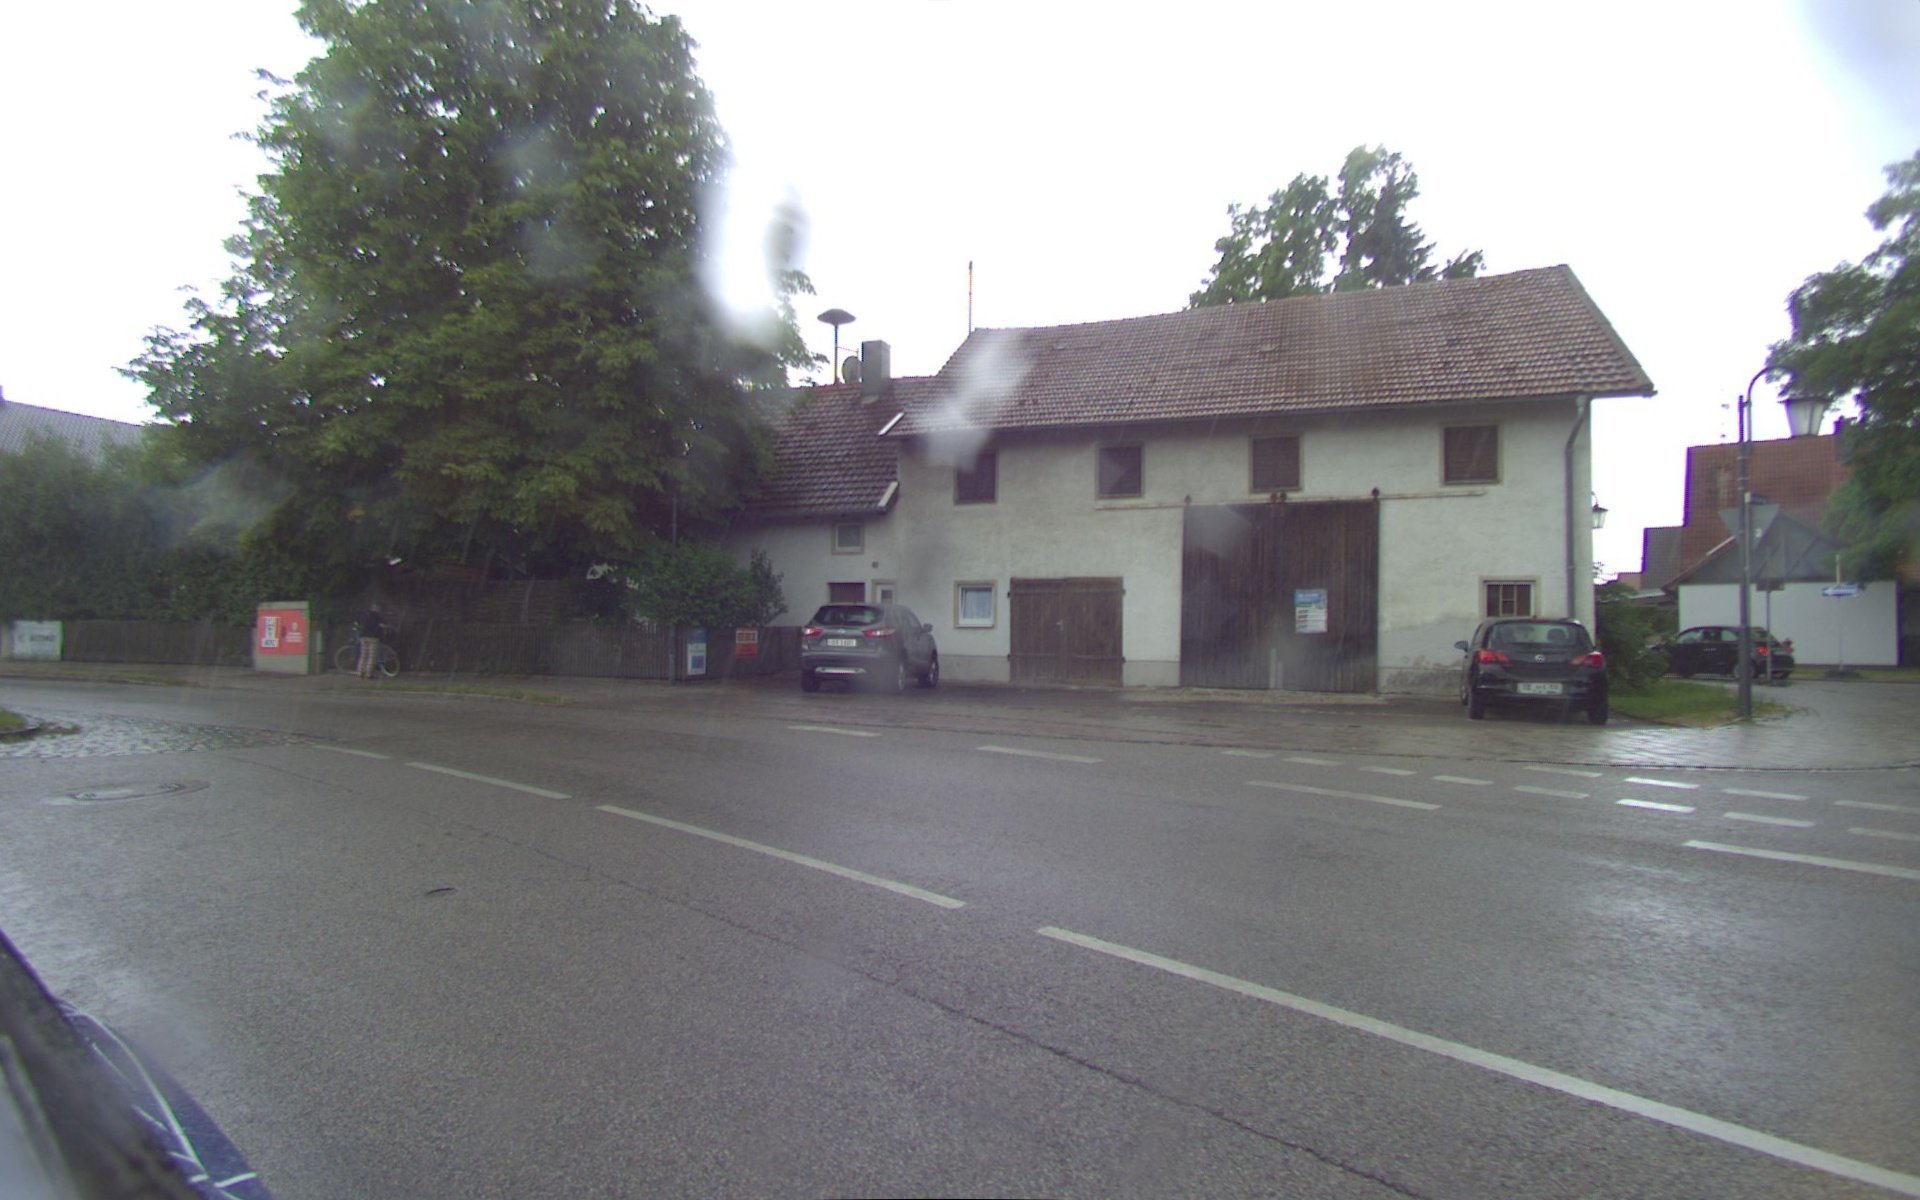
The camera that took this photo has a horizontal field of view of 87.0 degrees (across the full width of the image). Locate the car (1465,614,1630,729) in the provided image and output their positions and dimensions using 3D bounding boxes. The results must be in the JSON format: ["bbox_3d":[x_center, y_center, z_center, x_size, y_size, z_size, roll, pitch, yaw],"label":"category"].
[{"bbox_3d":[8.782,0.946,14.959,1.816,1.447,4.231,-1,-2,34],"label":"car"}]

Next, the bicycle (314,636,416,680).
[{"bbox_3d":[-12.765,1.234,21.729,1.851,0.909,0.662,0,-1,7],"label":"bicycle"}]

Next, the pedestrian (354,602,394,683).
[{"bbox_3d":[-12.079,0.863,20.878,0.642,1.640,0.480,0,-1,-22],"label":"pedestrian"}]

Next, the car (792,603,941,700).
[{"bbox_3d":[-1.566,0.939,18.570,1.797,1.560,4.270,0,-3,8],"label":"car"}]

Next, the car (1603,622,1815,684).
[{"bbox_3d":[20.347,1.384,27.726,1.847,1.560,4.295,1,-1,-25],"label":"car"}]
